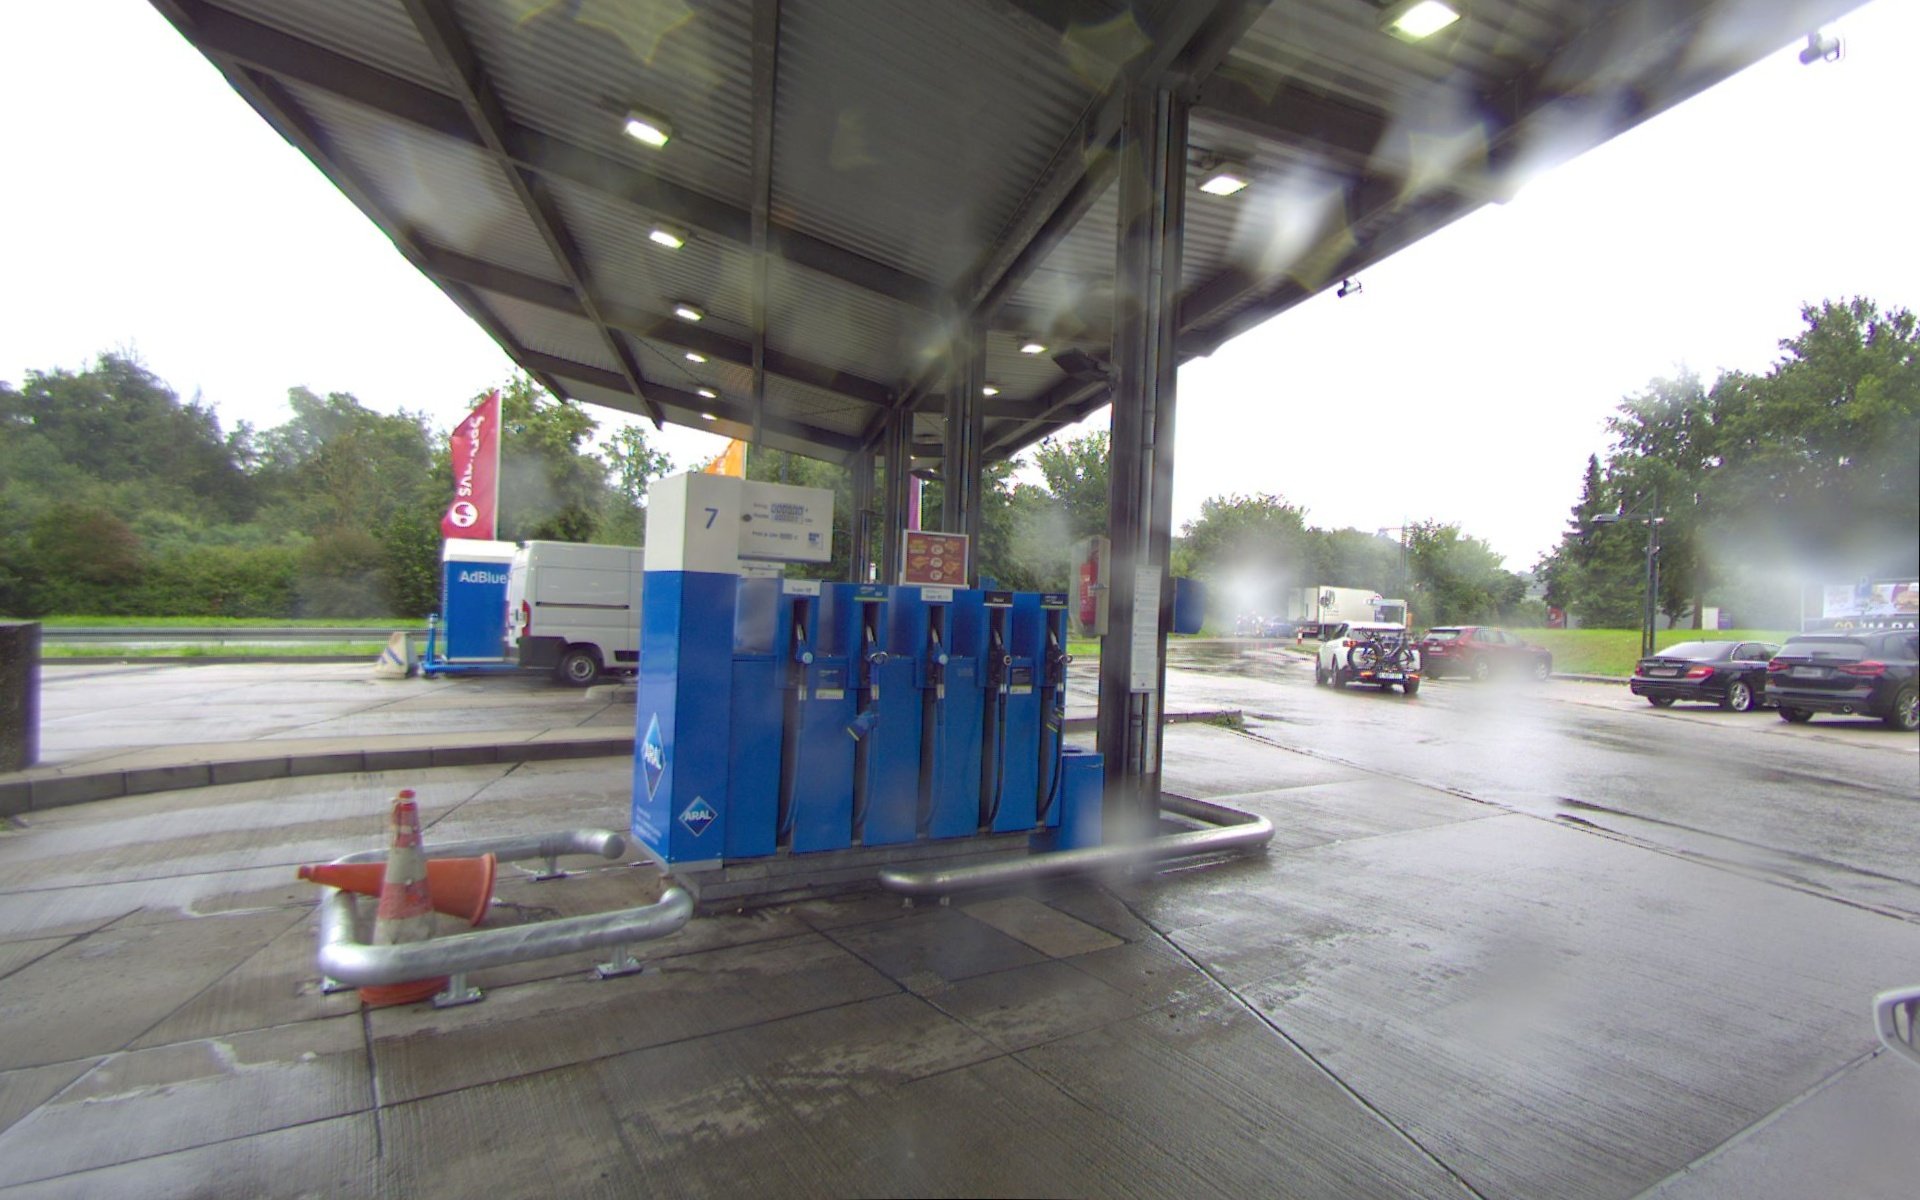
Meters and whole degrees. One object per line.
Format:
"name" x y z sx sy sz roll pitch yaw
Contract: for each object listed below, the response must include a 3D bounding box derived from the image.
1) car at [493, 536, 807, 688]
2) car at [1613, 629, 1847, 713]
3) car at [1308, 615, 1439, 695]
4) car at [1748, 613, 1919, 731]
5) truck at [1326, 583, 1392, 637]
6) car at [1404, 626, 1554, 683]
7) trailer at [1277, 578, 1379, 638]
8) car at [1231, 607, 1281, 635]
"car" -5.771 0.268 18.966 5.227 2.496 2.306 1 -1 -34
"car" 15.941 1.417 20.830 4.119 1.585 1.883 1 -1 -19
"car" 9.527 1.193 23.554 1.783 1.586 5.007 1 0 10
"car" 16.154 1.189 17.411 4.344 1.852 1.883 1 -1 -19
"truck" 35.594 0.927 89.465 3.416 4.618 6.704 2 0 40
"car" 16.005 1.646 30.976 4.294 1.617 1.879 1 -1 -24
"trailer" 30.920 0.756 83.861 3.416 4.618 13.847 2 0 40
"car" 20.877 1.475 70.786 1.903 1.862 4.373 1 0 38
